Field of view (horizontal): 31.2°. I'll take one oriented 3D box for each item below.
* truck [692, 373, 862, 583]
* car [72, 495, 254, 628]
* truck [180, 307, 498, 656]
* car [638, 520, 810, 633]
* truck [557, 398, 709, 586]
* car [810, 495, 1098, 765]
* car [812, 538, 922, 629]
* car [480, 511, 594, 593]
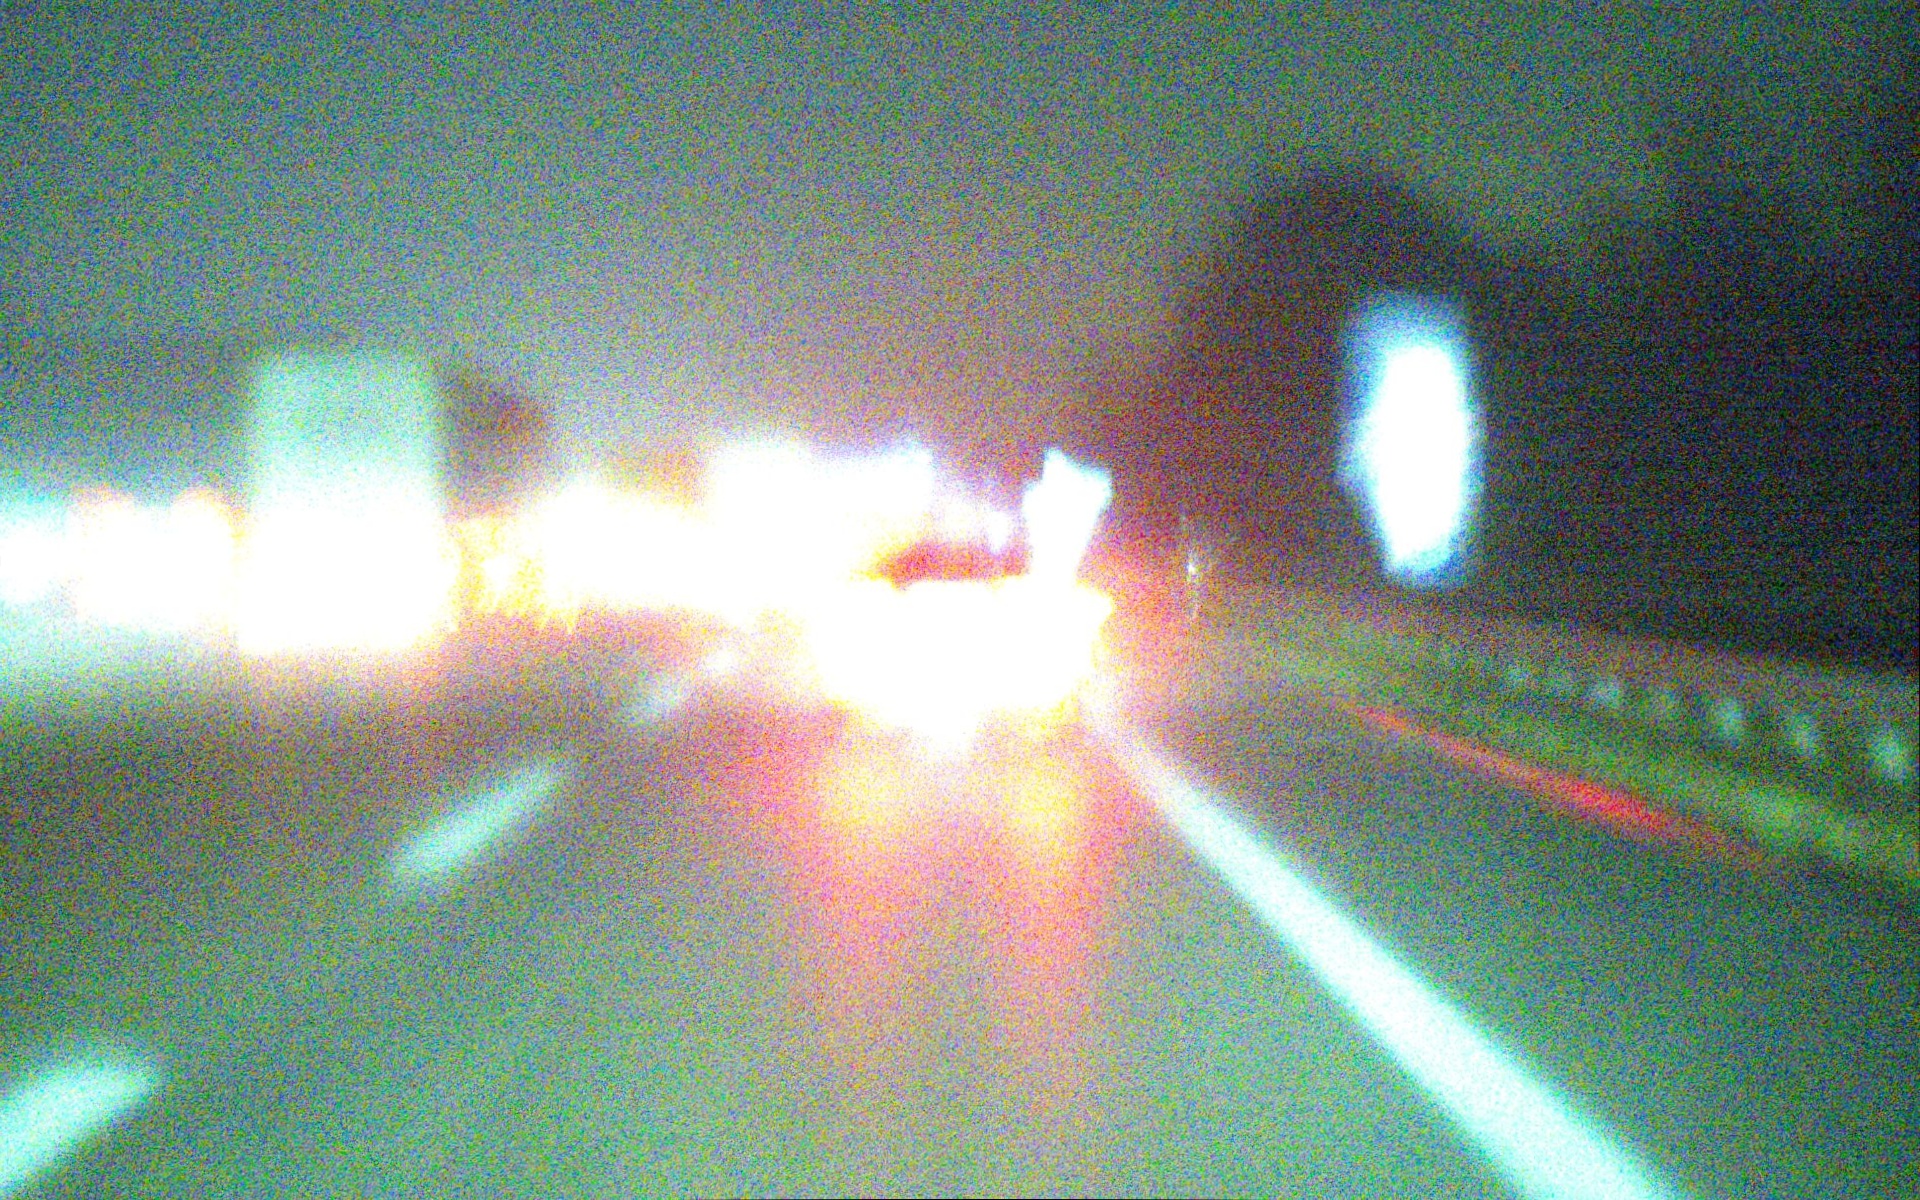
[{"bbox_3d":[-4.821,-3.142,91.043,4.161,5.197,9.955,1,1,-3],"label":"truck"},{"bbox_3d":[-13.225,-0.673,57.373,2.123,2.097,5.630,1,1,-4],"label":"car"},{"bbox_3d":[-9.178,-1.709,52.092,3.655,4.721,9.854,1,1,-4],"label":"truck"},{"bbox_3d":[-4.414,-0.469,65.316,2.833,2.007,5.510,1,1,0],"label":"car"},{"bbox_3d":[-9.963,-3.258,106.005,4.253,5.425,10.886,1,1,-4],"label":"truck"},{"bbox_3d":[-0.023,0.164,24.783,1.878,1.756,4.000,1,1,0],"label":"car"},{"bbox_3d":[-1.787,-0.354,67.374,1.993,1.698,4.459,1,1,0],"label":"car"},{"bbox_3d":[-10.737,-1.236,87.625,2.192,1.974,5.198,1,1,0],"label":"car"}]
